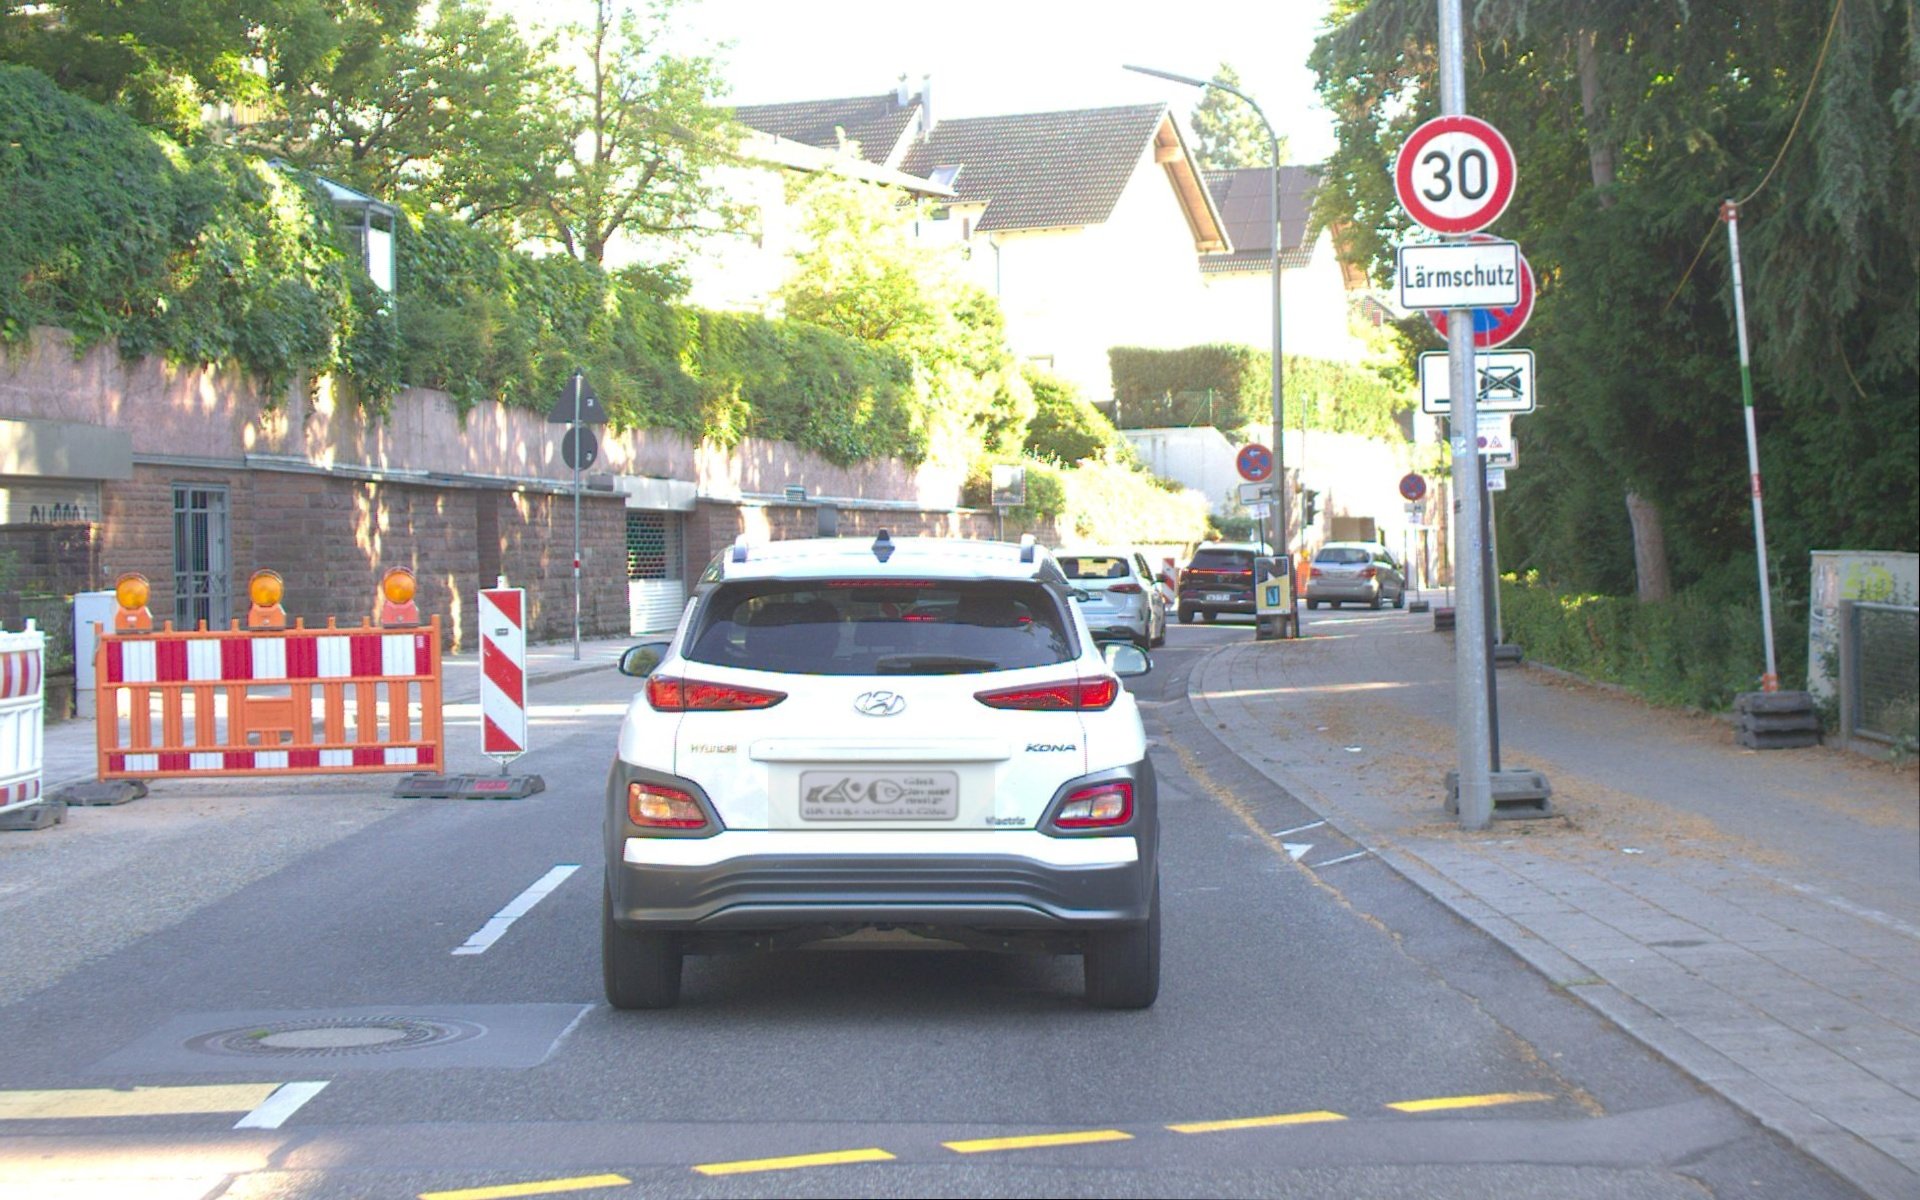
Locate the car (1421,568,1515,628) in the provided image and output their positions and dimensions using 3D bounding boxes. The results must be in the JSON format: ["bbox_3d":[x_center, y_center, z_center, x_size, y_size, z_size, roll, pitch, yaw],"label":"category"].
[{"bbox_3d":[14.641,-0.082,98.913,1.833,1.656,3.996,1,1,21],"label":"car"}]

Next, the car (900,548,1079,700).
[{"bbox_3d":[0.257,0.198,35.407,1.708,1.429,4.365,1,1,-1],"label":"car"}]

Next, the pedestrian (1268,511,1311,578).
[{"bbox_3d":[9.449,-1.579,98.616,1.080,1.905,0.840,1,1,17],"label":"pedestrian"}]

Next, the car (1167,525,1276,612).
[{"bbox_3d":[5.270,-0.633,68.893,1.832,1.656,3.999,1,1,9],"label":"car"}]

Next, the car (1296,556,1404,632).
[{"bbox_3d":[9.388,-0.157,82.548,1.833,1.735,3.997,-1,0,17],"label":"car"}]

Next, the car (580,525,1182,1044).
[{"bbox_3d":[-0.398,0.537,12.547,1.820,1.568,4.001,1,1,-5],"label":"car"}]

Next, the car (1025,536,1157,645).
[{"bbox_3d":[1.912,-0.166,51.304,1.805,1.532,4.000,1,1,0],"label":"car"}]
